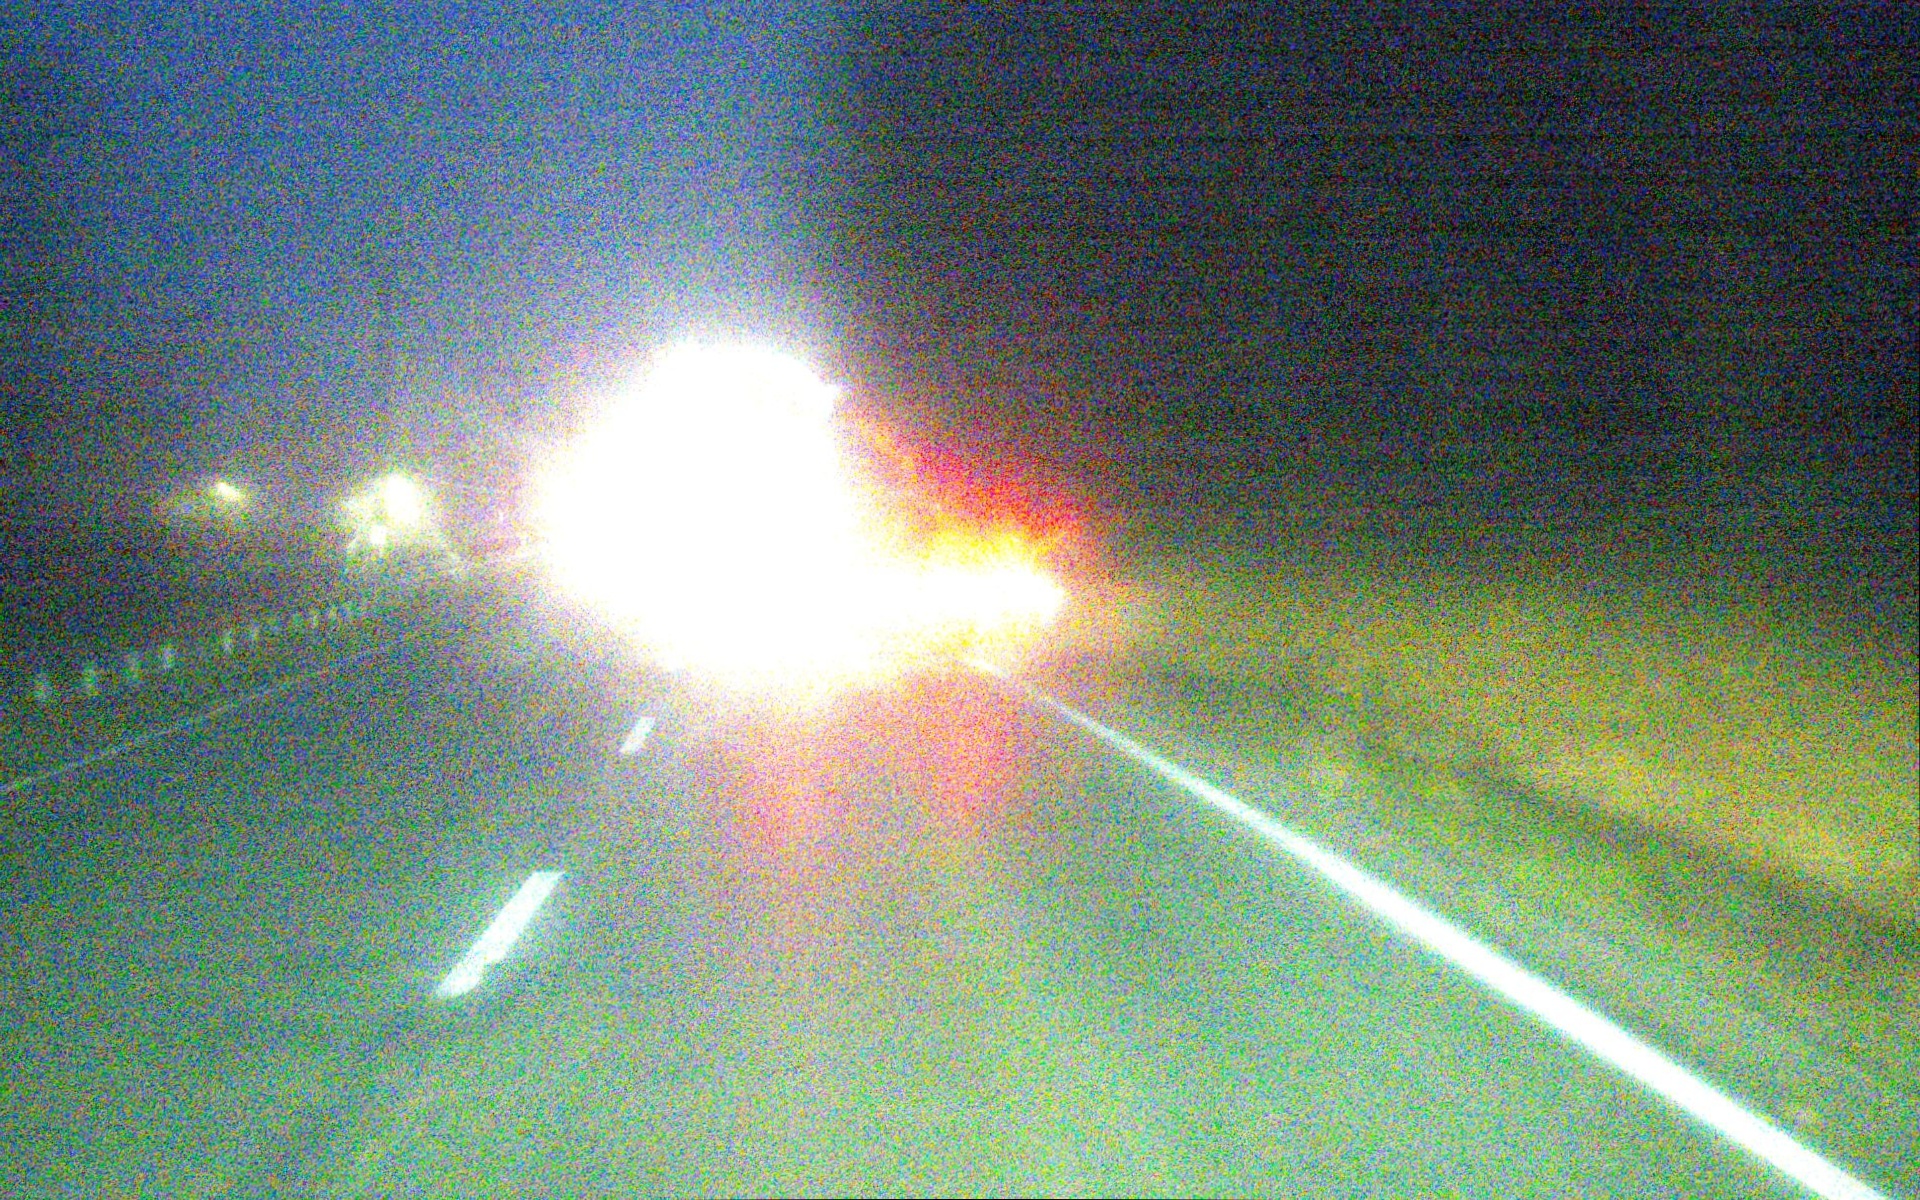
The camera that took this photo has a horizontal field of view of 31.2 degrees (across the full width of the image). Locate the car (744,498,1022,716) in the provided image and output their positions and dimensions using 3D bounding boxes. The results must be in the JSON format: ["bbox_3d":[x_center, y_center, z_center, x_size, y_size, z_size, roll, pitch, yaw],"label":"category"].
[{"bbox_3d":[-0.841,0.024,33.356,2.457,1.952,4.912,0,1,-4],"label":"car"}]

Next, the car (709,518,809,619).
[{"bbox_3d":[-4.181,-0.650,71.636,1.993,2.007,4.001,1,0,-3],"label":"car"}]
